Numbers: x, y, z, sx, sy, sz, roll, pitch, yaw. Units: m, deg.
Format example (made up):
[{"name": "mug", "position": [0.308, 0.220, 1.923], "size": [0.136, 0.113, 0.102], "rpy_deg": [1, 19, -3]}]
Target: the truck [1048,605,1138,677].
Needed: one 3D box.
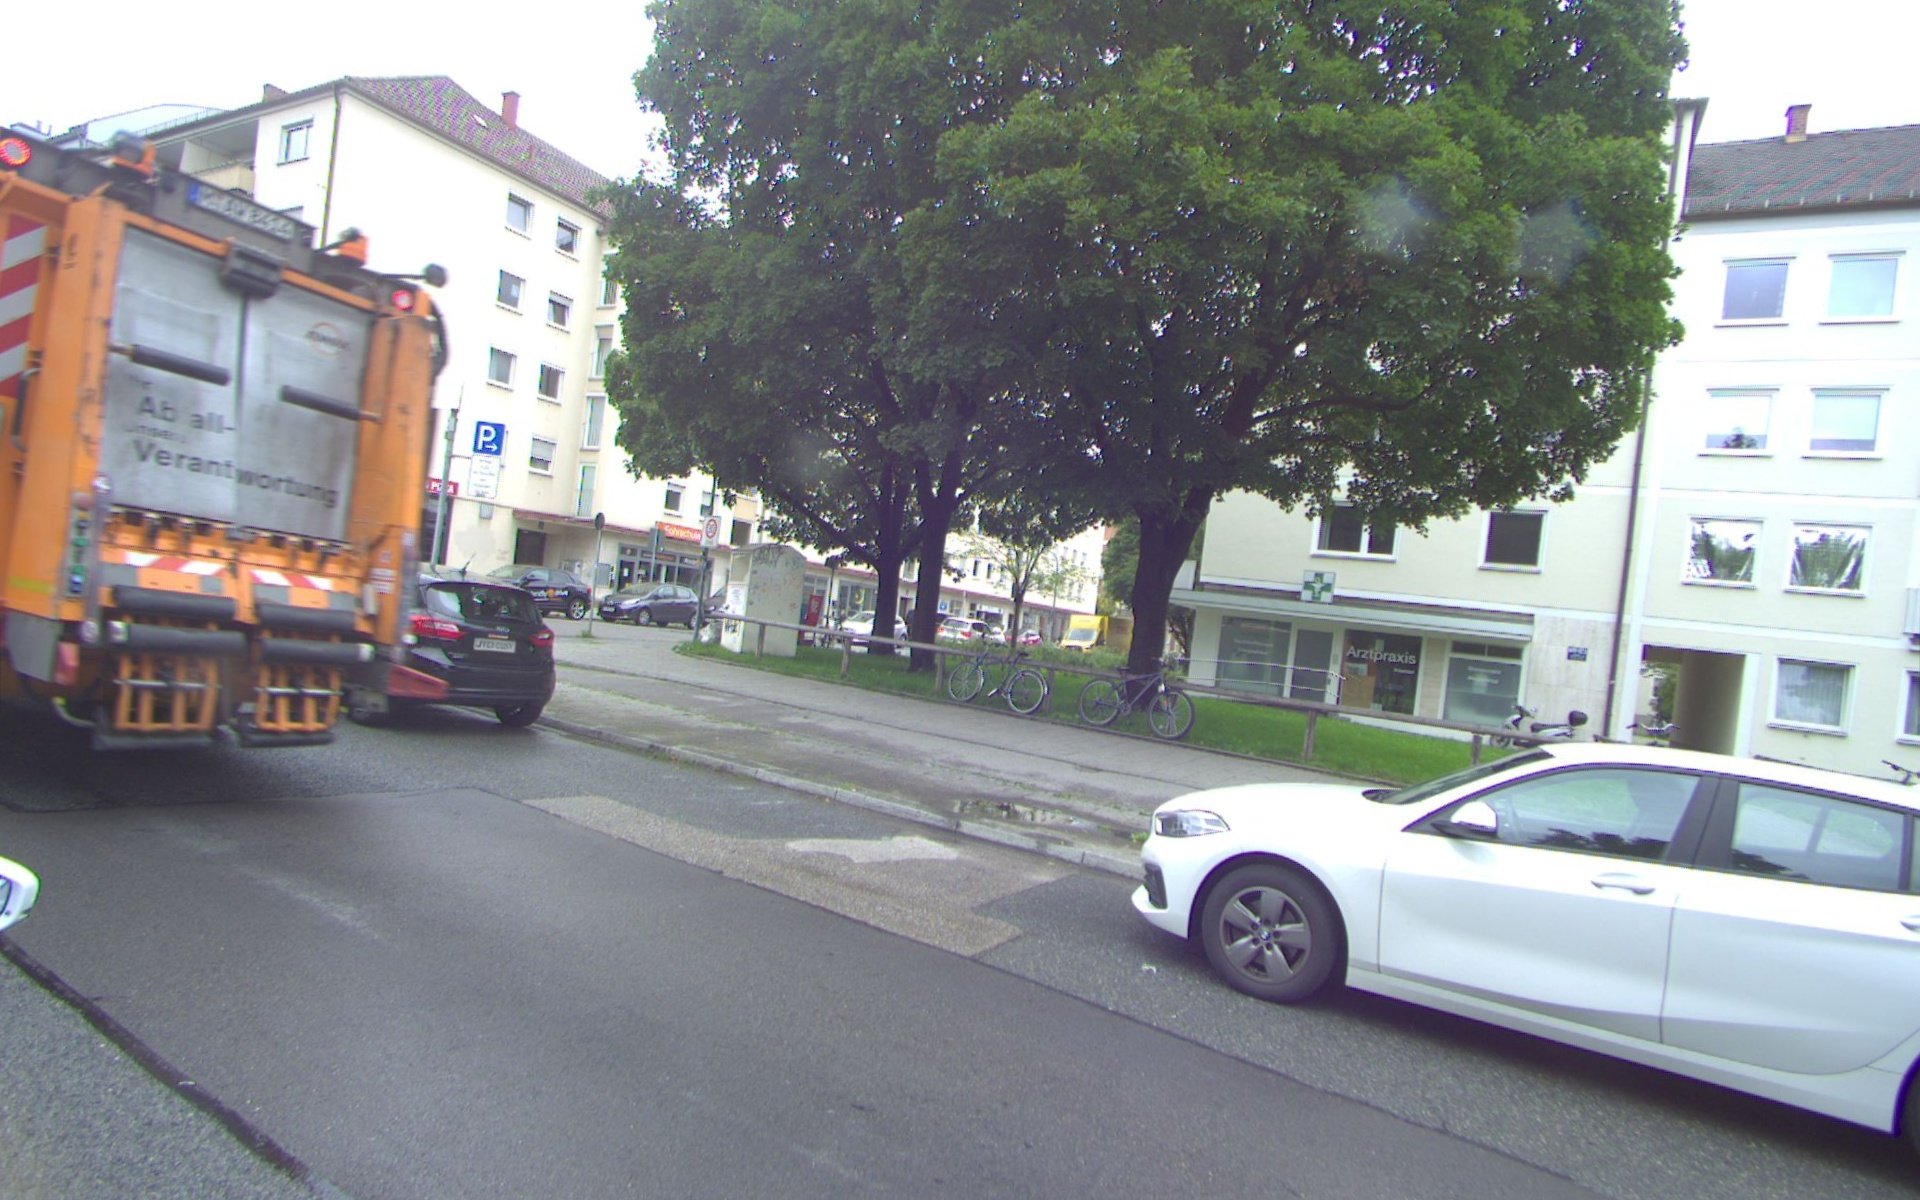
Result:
[{"name": "truck", "position": [7.429, 2.339, 55.239], "size": [2.318, 3.282, 7.427], "rpy_deg": [7, -2, 26]}]

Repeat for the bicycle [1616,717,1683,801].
[{"name": "bicycle", "position": [9.076, 2.058, 13.282], "size": [0.548, 0.950, 1.881], "rpy_deg": [7, -2, 32]}]

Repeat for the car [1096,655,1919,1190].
[{"name": "car", "position": [2.943, 1.326, 4.835], "size": [4.067, 1.481, 1.687], "rpy_deg": [7, -3, 30]}]

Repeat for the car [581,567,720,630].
[{"name": "car", "position": [-10.455, -0.009, 34.313], "size": [1.839, 1.681, 4.402], "rpy_deg": [7, 0, 28]}]

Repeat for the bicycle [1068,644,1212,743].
[{"name": "bicycle", "position": [2.500, 1.293, 14.092], "size": [1.852, 1.116, 0.382], "rpy_deg": [6, -1, 32]}]

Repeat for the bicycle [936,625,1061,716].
[{"name": "bicycle", "position": [0.566, 1.055, 15.253], "size": [1.823, 1.118, 0.390], "rpy_deg": [7, -1, 32]}]

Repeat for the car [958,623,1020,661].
[{"name": "car", "position": [1.716, 2.463, 58.088], "size": [1.839, 1.679, 4.089], "rpy_deg": [7, -3, 27]}]

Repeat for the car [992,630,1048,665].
[{"name": "car", "position": [3.776, 2.978, 62.322], "size": [1.839, 1.679, 4.089], "rpy_deg": [7, -3, 27]}]

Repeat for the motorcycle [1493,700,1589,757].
[{"name": "motorcycle", "position": [13.795, 3.044, 23.921], "size": [1.875, 1.035, 0.605], "rpy_deg": [6, -1, 32]}]

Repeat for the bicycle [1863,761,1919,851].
[{"name": "bicycle", "position": [12.152, 2.630, 12.917], "size": [0.425, 0.985, 1.881], "rpy_deg": [7, -2, 32]}]

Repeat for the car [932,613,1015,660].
[{"name": "car", "position": [0.672, 1.730, 46.545], "size": [1.839, 1.680, 4.404], "rpy_deg": [8, -1, 28]}]

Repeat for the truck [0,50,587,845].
[{"name": "truck", "position": [-7.153, -0.918, 7.493], "size": [8.981, 3.226, 3.044], "rpy_deg": [7, -1, 32]}]

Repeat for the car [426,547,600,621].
[{"name": "car", "position": [-13.055, -0.402, 29.654], "size": [1.838, 1.681, 4.403], "rpy_deg": [7, 0, 26]}]

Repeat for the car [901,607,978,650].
[{"name": "car", "position": [-1.011, 1.537, 52.680], "size": [1.839, 1.679, 4.751], "rpy_deg": [7, -3, 27]}]

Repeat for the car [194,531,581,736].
[{"name": "car", "position": [-5.701, 0.305, 9.943], "size": [3.613, 1.482, 1.621], "rpy_deg": [7, -3, 31]}]

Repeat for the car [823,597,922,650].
[{"name": "car", "position": [-3.676, 1.045, 43.080], "size": [1.839, 1.679, 4.741], "rpy_deg": [7, -3, 27]}]

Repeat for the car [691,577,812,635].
[{"name": "car", "position": [-8.041, 0.281, 39.264], "size": [1.840, 1.794, 4.743], "rpy_deg": [7, 0, 29]}]
